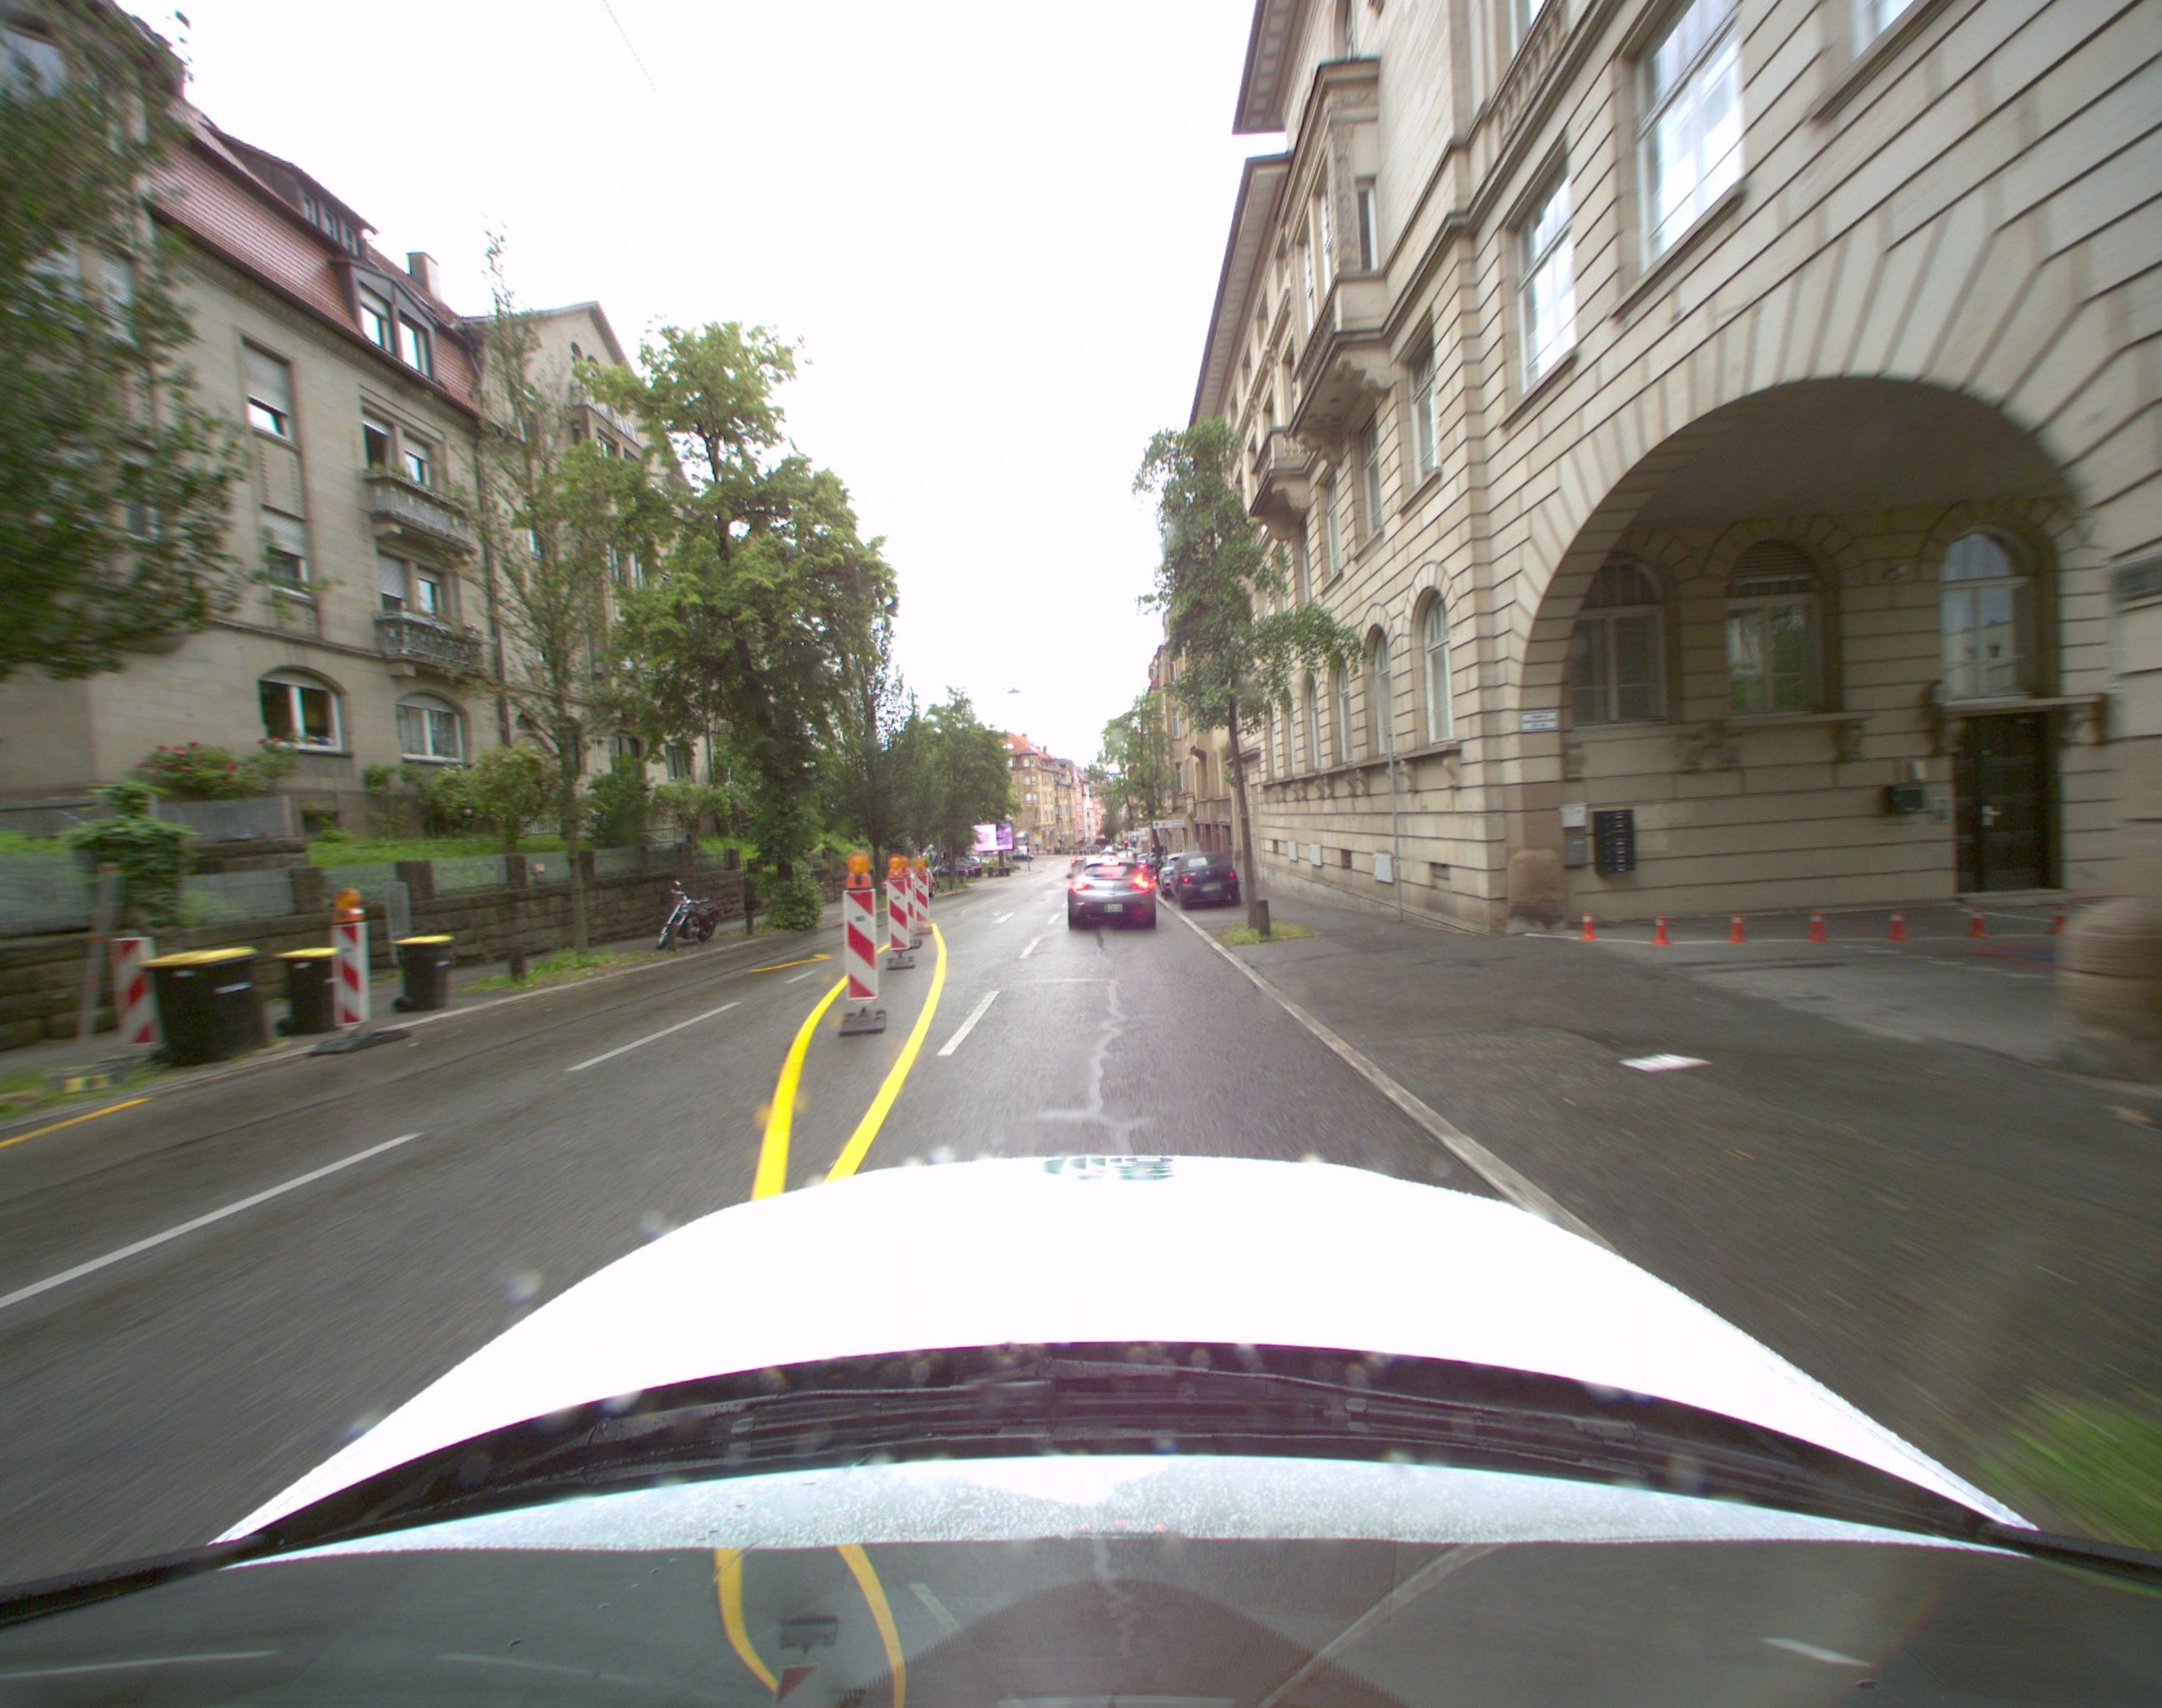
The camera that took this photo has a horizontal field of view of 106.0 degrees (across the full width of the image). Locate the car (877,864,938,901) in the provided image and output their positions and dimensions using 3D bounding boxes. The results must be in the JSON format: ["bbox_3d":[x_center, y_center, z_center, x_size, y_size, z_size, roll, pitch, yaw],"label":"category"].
[{"bbox_3d":[-7.781,1.260,36.882,1.631,1.439,4.082,-3,0,2],"label":"car"}]

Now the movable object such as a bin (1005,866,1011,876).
[{"bbox_3d":[-7.235,1.673,80.700,0.657,1.058,0.626,0,-1,-7],"label":"movable object such as a bin"}]

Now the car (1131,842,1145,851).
[{"bbox_3d":[10.945,-1.476,156.099,1.980,1.684,4.013,0,-1,12],"label":"car"}]

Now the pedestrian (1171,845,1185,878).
[{"bbox_3d":[5.709,0.447,47.902,0.713,1.870,0.636,-1,-1,1],"label":"pedestrian"}]

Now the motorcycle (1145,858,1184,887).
[{"bbox_3d":[3.717,0.796,36.083,0.649,1.235,1.994,-2,-1,41],"label":"motorcycle"}]

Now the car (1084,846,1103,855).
[{"bbox_3d":[2.603,-0.779,171.289,3.972,1.750,2.001,0,-1,1],"label":"car"}]

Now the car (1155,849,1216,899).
[{"bbox_3d":[3.470,0.624,27.632,1.631,1.469,3.860,-3,0,2],"label":"car"}]

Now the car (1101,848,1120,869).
[{"bbox_3d":[2.665,0.385,73.622,1.650,1.782,3.667,-2,0,2],"label":"car"}]

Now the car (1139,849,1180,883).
[{"bbox_3d":[4.031,0.595,42.465,1.632,1.602,3.856,-3,0,-1],"label":"car"}]

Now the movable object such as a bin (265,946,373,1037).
[{"bbox_3d":[-8.559,1.533,9.171,0.601,0.908,0.624,-1,0,3],"label":"movable object such as a bin"}]

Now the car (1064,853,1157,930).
[{"bbox_3d":[0.623,0.742,18.091,1.805,1.449,3.869,-2,0,1],"label":"car"}]

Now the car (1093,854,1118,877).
[{"bbox_3d":[1.835,0.882,61.763,1.652,1.543,3.664,-5,0,-1],"label":"car"}]

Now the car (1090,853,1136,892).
[{"bbox_3d":[1.321,0.732,34.946,1.767,1.504,3.868,-2,0,-1],"label":"car"}]

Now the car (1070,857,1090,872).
[{"bbox_3d":[-0.121,1.094,89.035,1.986,1.500,4.002,-3,0,2],"label":"car"}]

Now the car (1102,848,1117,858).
[{"bbox_3d":[5.062,-0.226,146.191,1.980,1.684,4.013,0,-1,12],"label":"car"}]

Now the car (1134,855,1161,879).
[{"bbox_3d":[4.622,0.862,57.220,1.631,1.524,3.860,-3,0,2],"label":"car"}]

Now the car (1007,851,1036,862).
[{"bbox_3d":[-9.104,0.424,124.449,4.212,1.585,1.940,-1,0,1],"label":"car"}]

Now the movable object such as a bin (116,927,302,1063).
[{"bbox_3d":[-8.759,1.389,8.224,0.941,1.214,0.857,-1,0,3],"label":"movable object such as a bin"}]

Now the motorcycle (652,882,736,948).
[{"bbox_3d":[-8.706,1.337,18.431,0.762,1.346,2.204,-1,-1,2],"label":"motorcycle"}]

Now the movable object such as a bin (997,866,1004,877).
[{"bbox_3d":[-7.857,1.669,79.614,0.624,1.058,0.719,0,-1,-4],"label":"movable object such as a bin"}]

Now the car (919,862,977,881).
[{"bbox_3d":[-10.697,1.396,65.506,4.321,1.243,1.633,-3,0,-18],"label":"car"}]

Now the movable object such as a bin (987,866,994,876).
[{"bbox_3d":[-8.833,1.663,79.702,0.624,1.058,0.633,0,-1,-4],"label":"movable object such as a bin"}]

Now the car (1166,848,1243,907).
[{"bbox_3d":[3.332,0.598,22.518,1.631,1.429,3.377,-3,0,1],"label":"car"}]

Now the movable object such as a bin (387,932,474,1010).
[{"bbox_3d":[-8.443,1.511,10.594,0.601,0.908,0.624,-1,0,3],"label":"movable object such as a bin"}]

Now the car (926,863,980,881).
[{"bbox_3d":[-10.765,1.490,68.501,4.321,1.243,1.633,-3,0,-18],"label":"car"}]
